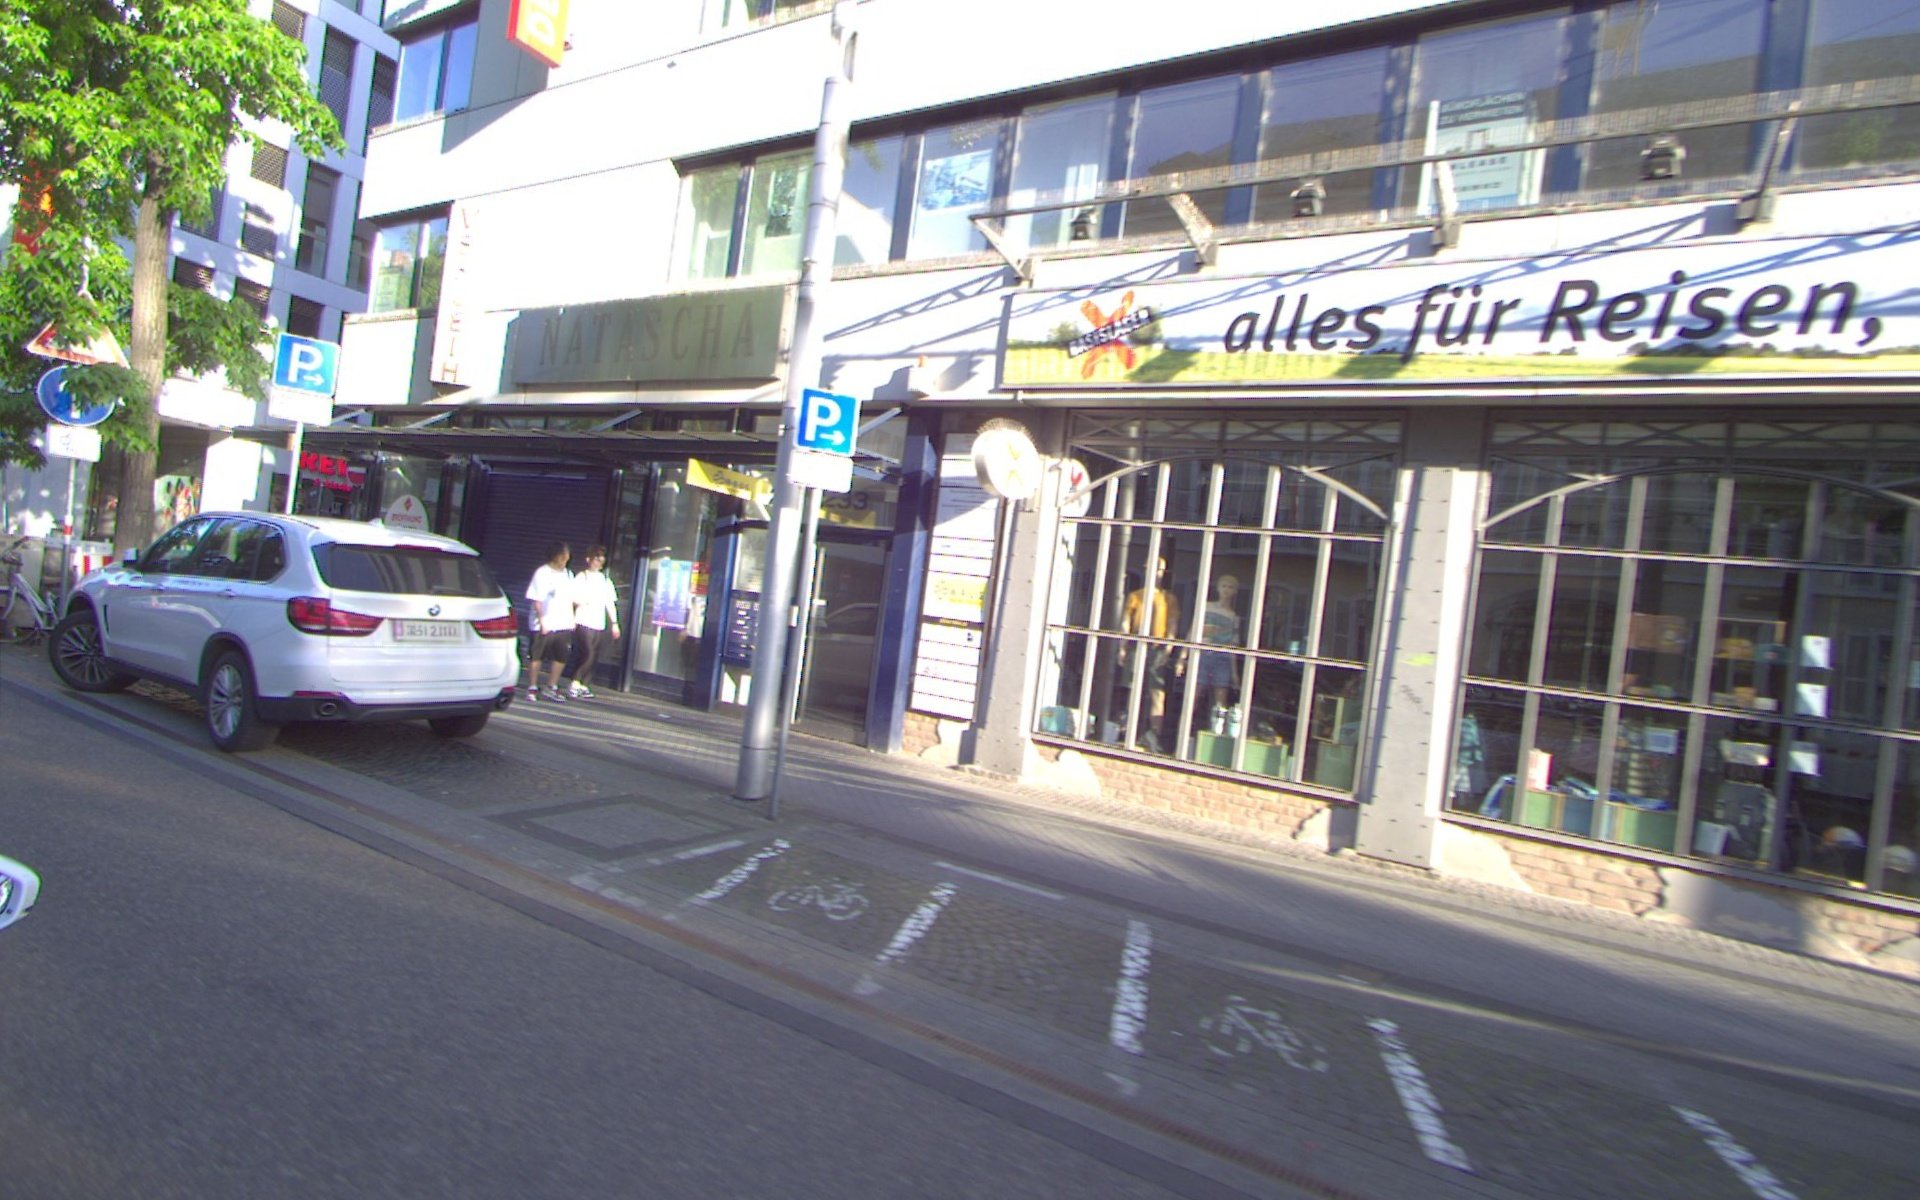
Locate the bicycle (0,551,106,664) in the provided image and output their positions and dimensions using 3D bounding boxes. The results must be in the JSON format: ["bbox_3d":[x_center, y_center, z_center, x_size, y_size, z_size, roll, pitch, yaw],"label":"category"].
[{"bbox_3d":[-9.761,0.051,10.593,1.898,0.993,0.494,7,-1,30],"label":"bicycle"}]

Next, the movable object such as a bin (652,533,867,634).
[{"bbox_3d":[-8.150,-0.605,41.690,8.151,2.943,2.794,9,-2,-40],"label":"movable object such as a bin"}]

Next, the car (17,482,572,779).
[{"bbox_3d":[-5.859,0.106,8.696,4.824,1.760,2.025,7,1,31],"label":"car"}]

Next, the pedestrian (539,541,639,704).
[{"bbox_3d":[-4.450,0.276,12.096,0.624,1.852,0.689,7,0,31],"label":"pedestrian"}]

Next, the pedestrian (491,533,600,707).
[{"bbox_3d":[-4.662,0.239,11.336,0.624,1.852,0.706,7,0,31],"label":"pedestrian"}]

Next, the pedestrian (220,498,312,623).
[{"bbox_3d":[-11.488,-0.648,16.663,0.903,1.921,0.834,7,1,35],"label":"pedestrian"}]
